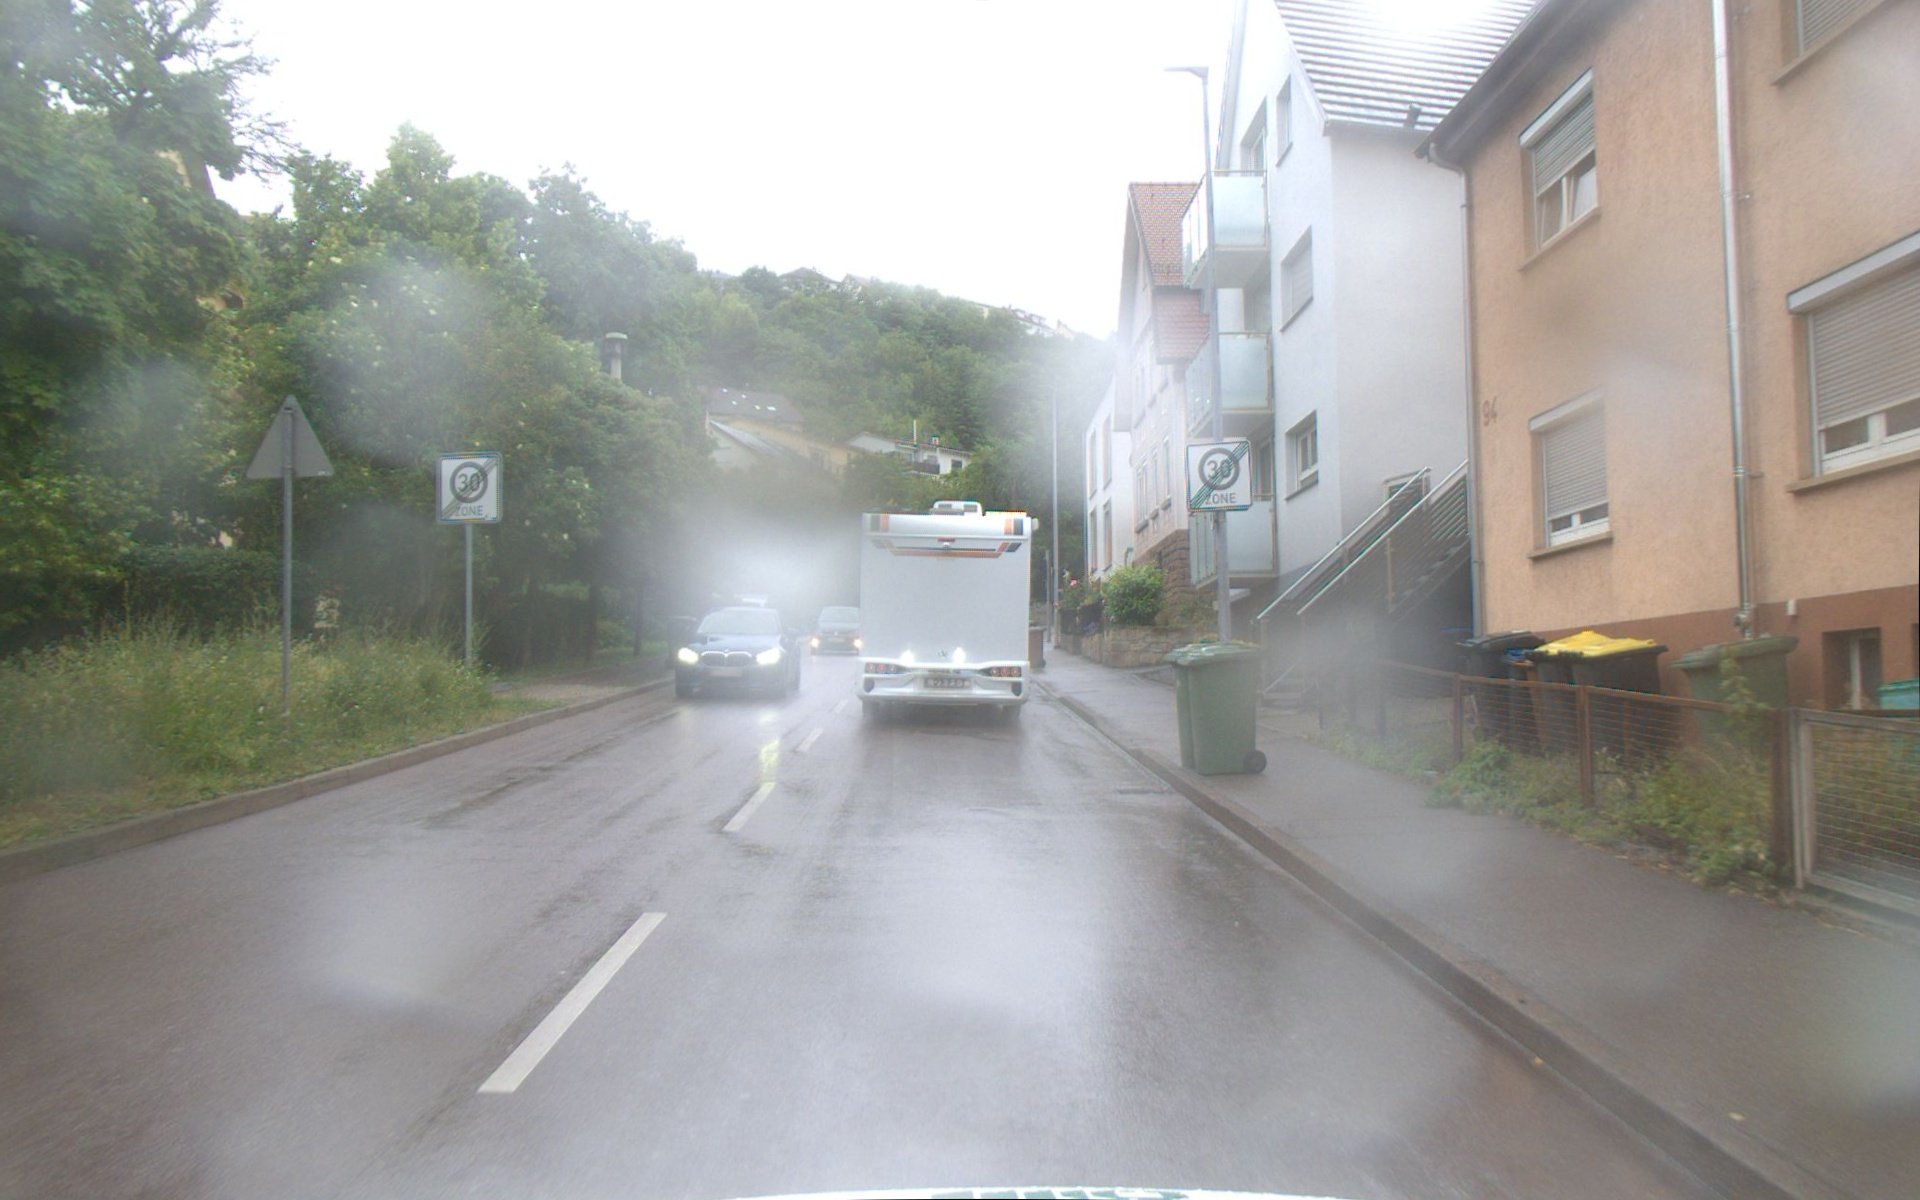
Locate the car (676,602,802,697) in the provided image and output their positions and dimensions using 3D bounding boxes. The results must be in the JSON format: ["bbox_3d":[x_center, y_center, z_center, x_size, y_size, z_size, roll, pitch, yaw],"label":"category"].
[{"bbox_3d":[-3.612,0.779,27.589,1.684,1.455,3.843,0,0,-2],"label":"car"}]

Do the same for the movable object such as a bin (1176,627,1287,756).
[{"bbox_3d":[2.438,0.811,14.915,0.895,1.122,0.702,0,-1,1],"label":"movable object such as a bin"}]

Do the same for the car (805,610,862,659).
[{"bbox_3d":[-3.897,1.035,51.425,1.586,1.466,3.736,0,0,-2],"label":"car"}]

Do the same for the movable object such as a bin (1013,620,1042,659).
[{"bbox_3d":[1.900,1.104,46.669,0.780,1.089,0.761,0,-1,1],"label":"movable object such as a bin"}]

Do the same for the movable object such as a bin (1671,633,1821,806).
[{"bbox_3d":[5.425,0.806,11.444,0.647,1.112,0.655,-3,0,-3],"label":"movable object such as a bin"}]

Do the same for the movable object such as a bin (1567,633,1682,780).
[{"bbox_3d":[5.375,0.850,13.398,0.632,1.112,0.545,-4,0,-3],"label":"movable object such as a bin"}]

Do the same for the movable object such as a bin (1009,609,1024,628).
[{"bbox_3d":[3.383,1.122,99.503,0.659,1.159,0.619,1,-1,-30],"label":"movable object such as a bin"}]

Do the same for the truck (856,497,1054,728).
[{"bbox_3d":[-0.083,0.178,23.729,2.464,2.867,6.200,0,0,0],"label":"truck"}]

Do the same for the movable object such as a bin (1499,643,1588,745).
[{"bbox_3d":[5.414,0.866,15.363,0.624,0.911,0.536,0,0,-1],"label":"movable object such as a bin"}]

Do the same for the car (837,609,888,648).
[{"bbox_3d":[-4.278,1.227,73.030,1.878,1.652,4.363,0,0,1],"label":"car"}]

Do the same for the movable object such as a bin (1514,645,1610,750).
[{"bbox_3d":[5.374,0.863,14.785,0.656,0.911,0.536,0,0,-1],"label":"movable object such as a bin"}]

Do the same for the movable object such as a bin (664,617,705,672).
[{"bbox_3d":[-5.797,0.934,34.823,0.706,1.119,0.757,1,-1,-1],"label":"movable object such as a bin"}]

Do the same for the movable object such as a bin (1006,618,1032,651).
[{"bbox_3d":[1.923,1.116,54.127,0.818,1.079,0.750,0,-1,0],"label":"movable object such as a bin"}]

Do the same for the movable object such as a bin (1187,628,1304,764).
[{"bbox_3d":[2.430,0.806,14.167,0.895,1.122,0.702,0,-1,1],"label":"movable object such as a bin"}]

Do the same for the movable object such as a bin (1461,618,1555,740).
[{"bbox_3d":[5.284,0.751,15.970,0.647,1.112,0.545,-4,0,-3],"label":"movable object such as a bin"}]

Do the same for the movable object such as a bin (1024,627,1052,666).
[{"bbox_3d":[1.838,1.091,39.229,0.617,0.913,0.712,0,-1,-1],"label":"movable object such as a bin"}]

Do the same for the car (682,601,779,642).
[{"bbox_3d":[-10.261,0.961,74.198,4.021,1.831,2.000,0,-1,1],"label":"car"}]

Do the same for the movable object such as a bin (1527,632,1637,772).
[{"bbox_3d":[5.277,0.853,14.050,0.647,1.112,0.545,-4,0,-3],"label":"movable object such as a bin"}]
